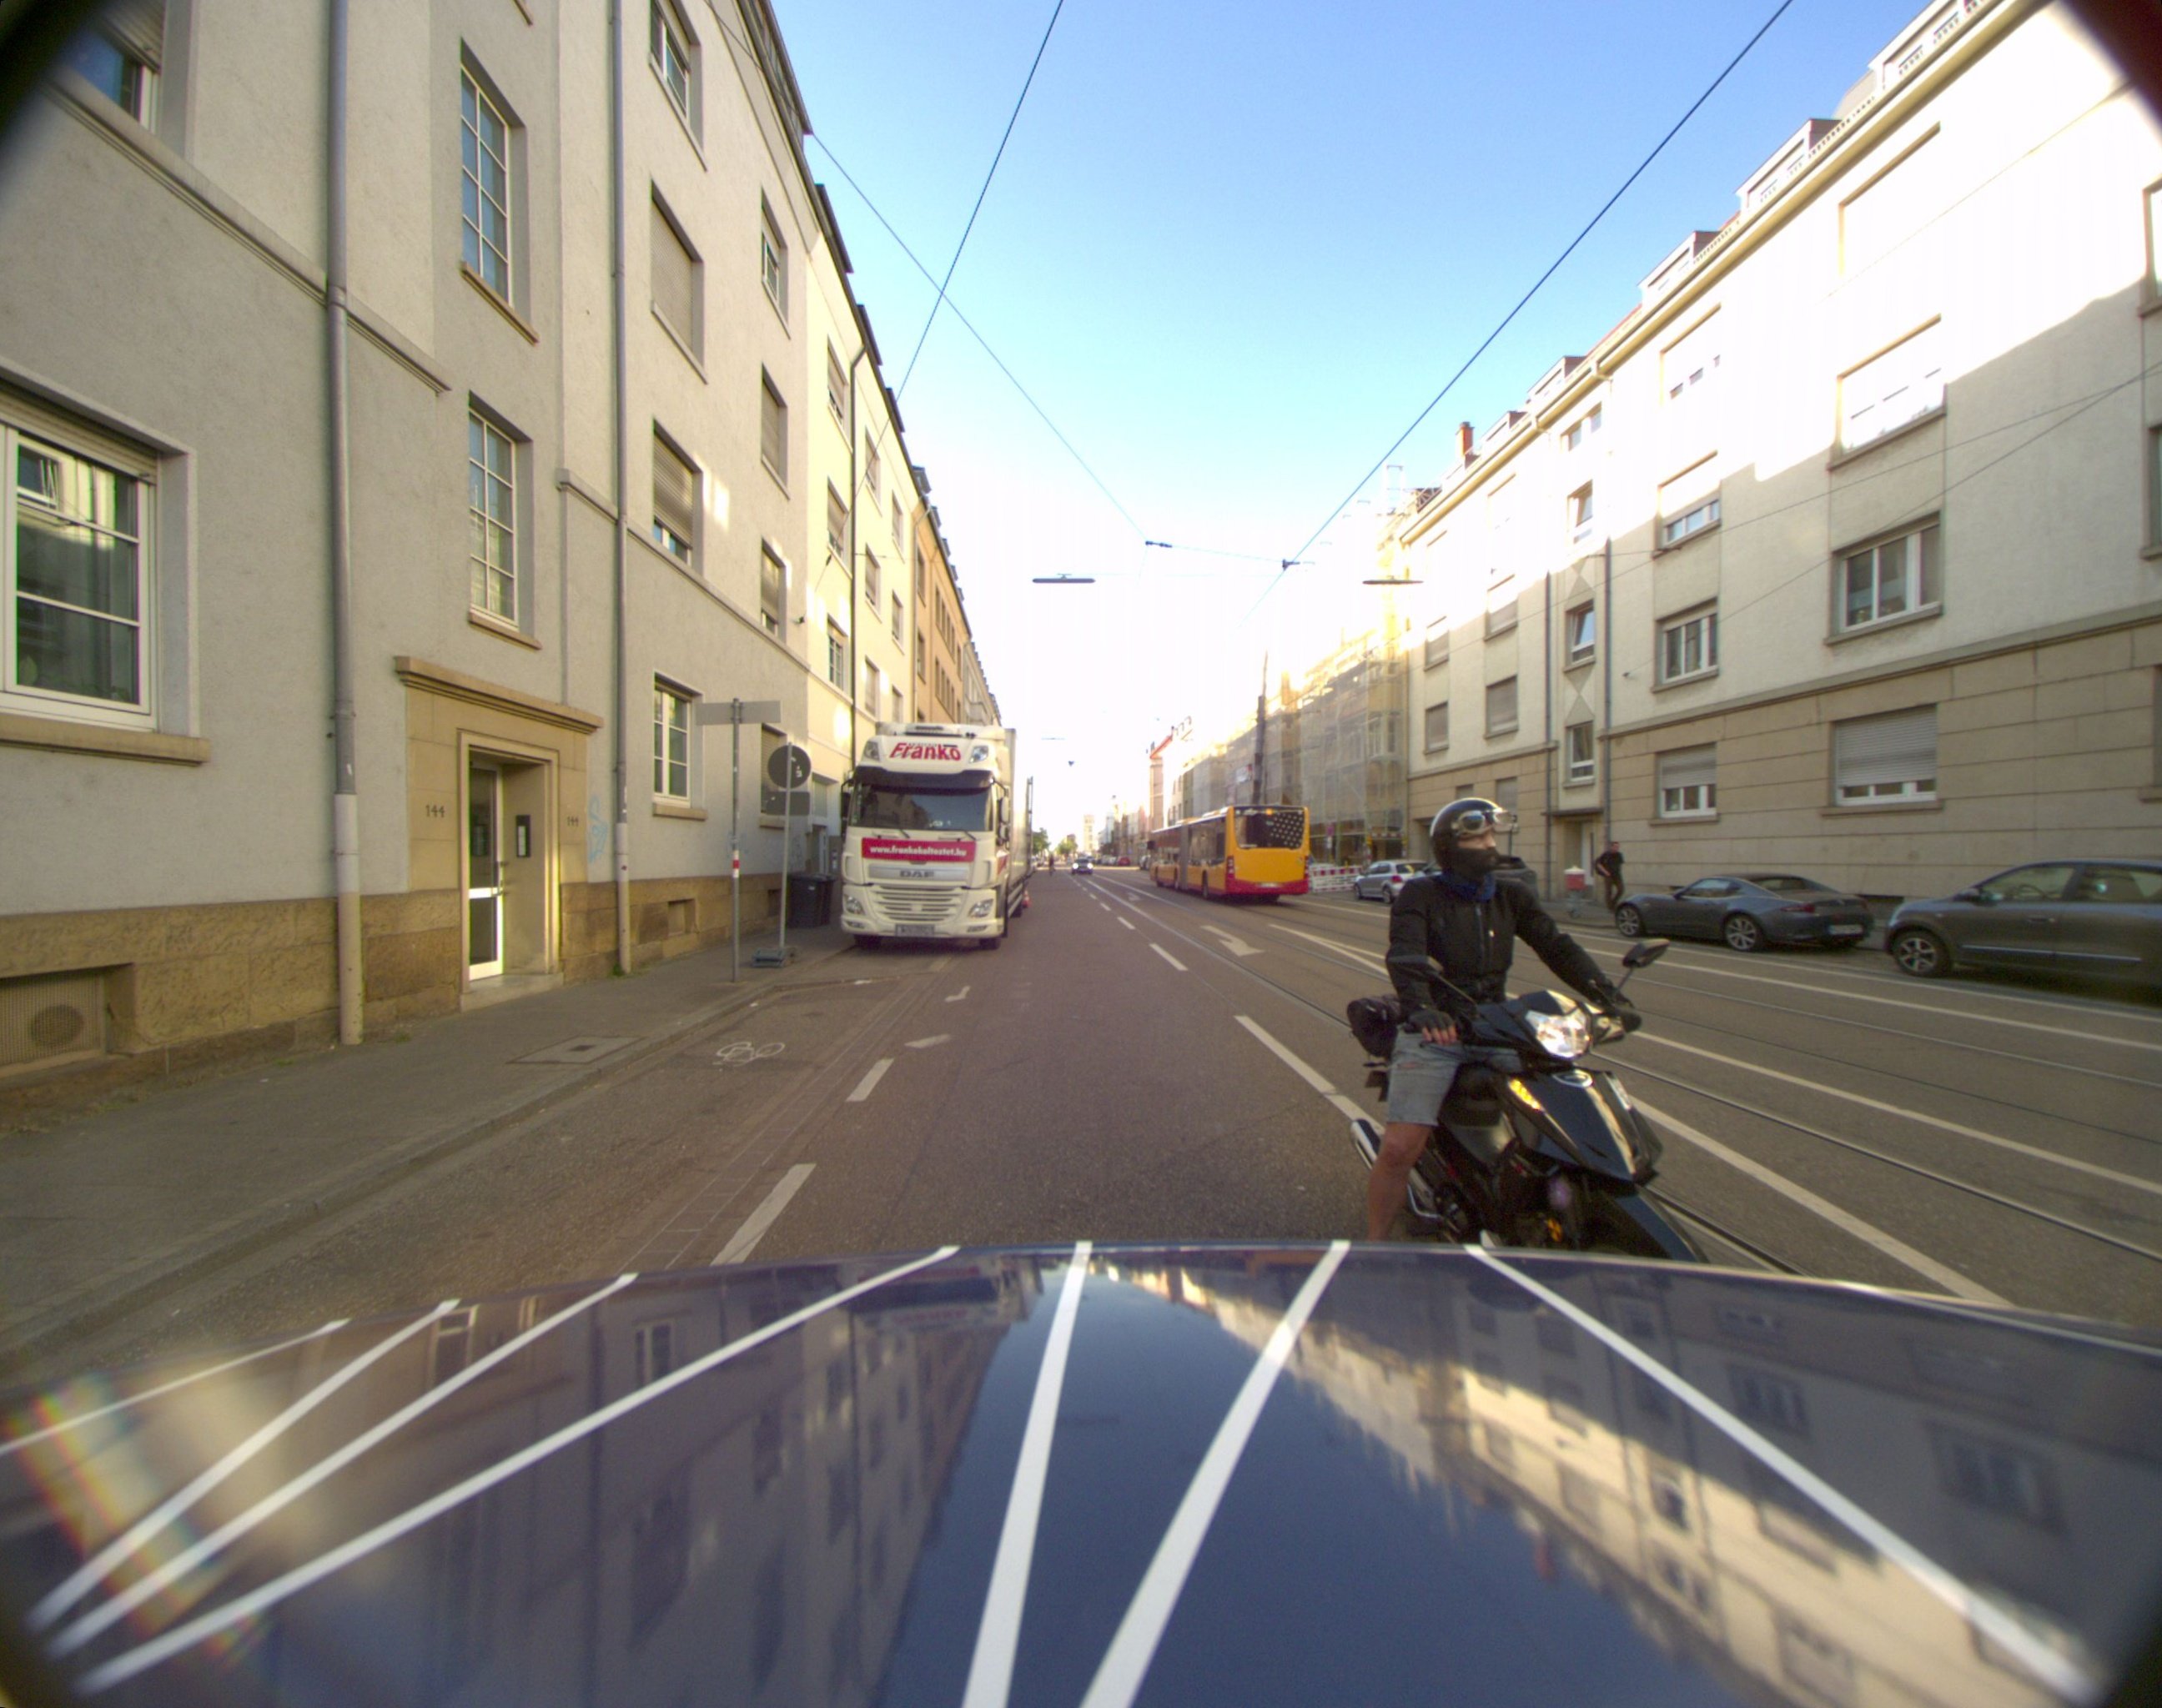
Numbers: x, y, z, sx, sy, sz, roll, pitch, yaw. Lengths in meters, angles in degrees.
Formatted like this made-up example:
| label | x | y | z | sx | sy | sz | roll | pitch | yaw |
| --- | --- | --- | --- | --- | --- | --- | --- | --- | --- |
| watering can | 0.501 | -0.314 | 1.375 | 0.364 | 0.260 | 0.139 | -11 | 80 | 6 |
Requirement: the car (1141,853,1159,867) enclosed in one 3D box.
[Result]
| label | x | y | z | sx | sy | sz | roll | pitch | yaw |
| --- | --- | --- | --- | --- | --- | --- | --- | --- | --- |
| car | 7.954 | 0.724 | 88.144 | 1.798 | 1.601 | 3.769 | 0 | 0 | 1 |

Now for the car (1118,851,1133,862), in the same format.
| label | x | y | z | sx | sy | sz | roll | pitch | yaw |
| --- | --- | --- | --- | --- | --- | --- | --- | --- | --- |
| car | 6.974 | 0.390 | 118.760 | 1.799 | 1.494 | 3.768 | -2 | 0 | -3 |

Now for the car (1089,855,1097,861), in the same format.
| label | x | y | z | sx | sy | sz | roll | pitch | yaw |
| --- | --- | --- | --- | --- | --- | --- | --- | --- | --- |
| car | 3.019 | 1.062 | 191.741 | 1.799 | 1.494 | 3.768 | -2 | 0 | -3 |

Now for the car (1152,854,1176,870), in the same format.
| label | x | y | z | sx | sy | sz | roll | pitch | yaw |
| --- | --- | --- | --- | --- | --- | --- | --- | --- | --- |
| car | 8.354 | 0.772 | 77.191 | 1.702 | 1.569 | 4.221 | -2 | 0 | -3 |

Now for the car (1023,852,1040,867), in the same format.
| label | x | y | z | sx | sy | sz | roll | pitch | yaw |
| --- | --- | --- | --- | --- | --- | --- | --- | --- | --- |
| car | -5.318 | 0.615 | 82.400 | 1.703 | 1.581 | 3.960 | 0 | 0 | -2 |

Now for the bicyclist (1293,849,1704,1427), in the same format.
| label | x | y | z | sx | sy | sz | roll | pitch | yaw |
| --- | --- | --- | --- | --- | --- | --- | --- | --- | --- |
| bicyclist | 1.243 | 0.758 | 2.465 | 0.844 | 1.545 | 0.849 | 0 | 1 | -3 |

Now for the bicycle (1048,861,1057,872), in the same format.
| label | x | y | z | sx | sy | sz | roll | pitch | yaw |
| --- | --- | --- | --- | --- | --- | --- | --- | --- | --- |
| bicycle | -2.318 | 1.049 | 62.282 | 0.744 | 0.850 | 1.885 | 0 | 0 | -1 |

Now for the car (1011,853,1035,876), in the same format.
| label | x | y | z | sx | sy | sz | roll | pitch | yaw |
| --- | --- | --- | --- | --- | --- | --- | --- | --- | --- |
| car | -4.517 | 0.793 | 59.438 | 1.713 | 1.683 | 4.588 | 1 | 0 | -3 |

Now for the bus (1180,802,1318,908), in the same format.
| label | x | y | z | sx | sy | sz | roll | pitch | yaw |
| --- | --- | --- | --- | --- | --- | --- | --- | --- | --- |
| bus | 5.510 | 0.031 | 26.396 | 2.745 | 3.143 | 7.575 | 0 | 0 | -3 |

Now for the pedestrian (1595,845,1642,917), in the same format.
| label | x | y | z | sx | sy | sz | roll | pitch | yaw |
| --- | --- | --- | --- | --- | --- | --- | --- | --- | --- |
| pedestrian | 12.894 | 0.634 | 18.240 | 0.582 | 1.684 | 0.716 | -2 | 1 | -3 |

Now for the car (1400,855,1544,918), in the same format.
| label | x | y | z | sx | sy | sz | roll | pitch | yaw |
| --- | --- | --- | --- | --- | --- | --- | --- | --- | --- |
| car | 10.828 | 0.827 | 21.457 | 1.704 | 1.558 | 4.405 | 0 | 0 | -2 |

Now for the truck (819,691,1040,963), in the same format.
| label | x | y | z | sx | sy | sz | roll | pitch | yaw |
| --- | --- | --- | --- | --- | --- | --- | --- | --- | --- |
| truck | -2.578 | -0.403 | 17.236 | 2.867 | 4.049 | 11.776 | 0 | 0 | -1 |

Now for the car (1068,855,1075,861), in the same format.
| label | x | y | z | sx | sy | sz | roll | pitch | yaw |
| --- | --- | --- | --- | --- | --- | --- | --- | --- | --- |
| car | -2.595 | 1.118 | 210.548 | 1.826 | 1.559 | 4.199 | -2 | 0 | -4 |

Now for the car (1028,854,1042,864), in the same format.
| label | x | y | z | sx | sy | sz | roll | pitch | yaw |
| --- | --- | --- | --- | --- | --- | --- | --- | --- | --- |
| car | -6.806 | 0.694 | 112.983 | 1.999 | 1.412 | 3.726 | 1 | 0 | -2 |

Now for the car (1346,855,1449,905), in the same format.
| label | x | y | z | sx | sy | sz | roll | pitch | yaw |
| --- | --- | --- | --- | --- | --- | --- | --- | --- | --- |
| car | 10.726 | 0.833 | 26.088 | 1.704 | 1.407 | 3.998 | -3 | 1 | -2 |

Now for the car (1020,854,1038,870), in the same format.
| label | x | y | z | sx | sy | sz | roll | pitch | yaw |
| --- | --- | --- | --- | --- | --- | --- | --- | --- | --- |
| car | -5.254 | 0.801 | 77.281 | 1.703 | 1.496 | 3.862 | 0 | 0 | -1 |

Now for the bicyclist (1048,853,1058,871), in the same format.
| label | x | y | z | sx | sy | sz | roll | pitch | yaw |
| --- | --- | --- | --- | --- | --- | --- | --- | --- | --- |
| bicyclist | -2.306 | 0.622 | 62.394 | 0.744 | 1.481 | 0.816 | 0 | 1 | -1 |

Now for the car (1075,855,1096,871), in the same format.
| label | x | y | z | sx | sy | sz | roll | pitch | yaw |
| --- | --- | --- | --- | --- | --- | --- | --- | --- | --- |
| car | 0.423 | 0.813 | 67.161 | 1.859 | 1.369 | 4.000 | 0 | 0 | 1 |

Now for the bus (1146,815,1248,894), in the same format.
| label | x | y | z | sx | sy | sz | roll | pitch | yaw |
| --- | --- | --- | --- | --- | --- | --- | --- | --- | --- |
| bus | 5.045 | 0.018 | 35.259 | 2.730 | 3.140 | 10.192 | 0 | 0 | -3 |

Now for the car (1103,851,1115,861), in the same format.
| label | x | y | z | sx | sy | sz | roll | pitch | yaw |
| --- | --- | --- | --- | --- | --- | --- | --- | --- | --- |
| car | 5.541 | 0.424 | 149.172 | 1.999 | 2.002 | 3.999 | 1 | 0 | -3 |

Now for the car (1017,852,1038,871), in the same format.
| label | x | y | z | sx | sy | sz | roll | pitch | yaw |
| --- | --- | --- | --- | --- | --- | --- | --- | --- | --- |
| car | -5.020 | 0.678 | 71.619 | 1.703 | 1.688 | 4.187 | 1 | 0 | 0 |

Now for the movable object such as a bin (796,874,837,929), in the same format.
| label | x | y | z | sx | sy | sz | roll | pitch | yaw |
| --- | --- | --- | --- | --- | --- | --- | --- | --- | --- |
| movable object such as a bin | -5.433 | 0.967 | 15.623 | 0.660 | 1.098 | 0.541 | 0 | 1 | -5 |

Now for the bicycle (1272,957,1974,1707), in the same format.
| label | x | y | z | sx | sy | sz | roll | pitch | yaw |
| --- | --- | --- | --- | --- | --- | --- | --- | --- | --- |
| bicycle | 1.271 | 1.048 | 2.411 | 0.740 | 1.170 | 1.973 | 0 | 0 | -3 |

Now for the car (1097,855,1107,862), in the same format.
| label | x | y | z | sx | sy | sz | roll | pitch | yaw |
| --- | --- | --- | --- | --- | --- | --- | --- | --- | --- |
| car | 4.553 | 0.935 | 167.662 | 1.799 | 1.494 | 3.768 | -2 | 0 | -3 |

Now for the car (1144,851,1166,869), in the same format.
| label | x | y | z | sx | sy | sz | roll | pitch | yaw |
| --- | --- | --- | --- | --- | --- | --- | --- | --- | --- |
| car | 8.125 | 0.608 | 83.274 | 1.799 | 1.836 | 3.768 | -2 | 0 | -3 |

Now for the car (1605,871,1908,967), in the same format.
| label | x | y | z | sx | sy | sz | roll | pitch | yaw |
| --- | --- | --- | --- | --- | --- | --- | --- | --- | --- |
| car | 11.217 | 0.998 | 13.031 | 1.704 | 1.209 | 3.784 | -2 | 1 | -3 |

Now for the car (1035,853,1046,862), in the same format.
| label | x | y | z | sx | sy | sz | roll | pitch | yaw |
| --- | --- | --- | --- | --- | --- | --- | --- | --- | --- |
| car | -7.616 | 0.628 | 142.959 | 1.999 | 1.630 | 3.999 | 1 | 0 | -2 |

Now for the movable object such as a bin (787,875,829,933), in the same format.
| label | x | y | z | sx | sy | sz | roll | pitch | yaw |
| --- | --- | --- | --- | --- | --- | --- | --- | --- | --- |
| movable object such as a bin | -5.398 | 0.972 | 15.031 | 0.660 | 1.098 | 0.541 | 0 | 1 | -5 |

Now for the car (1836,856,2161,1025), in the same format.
| label | x | y | z | sx | sy | sz | roll | pitch | yaw |
| --- | --- | --- | --- | --- | --- | --- | --- | --- | --- |
| car | 11.425 | 0.865 | 8.608 | 1.704 | 1.560 | 3.998 | -2 | 1 | -2 |
